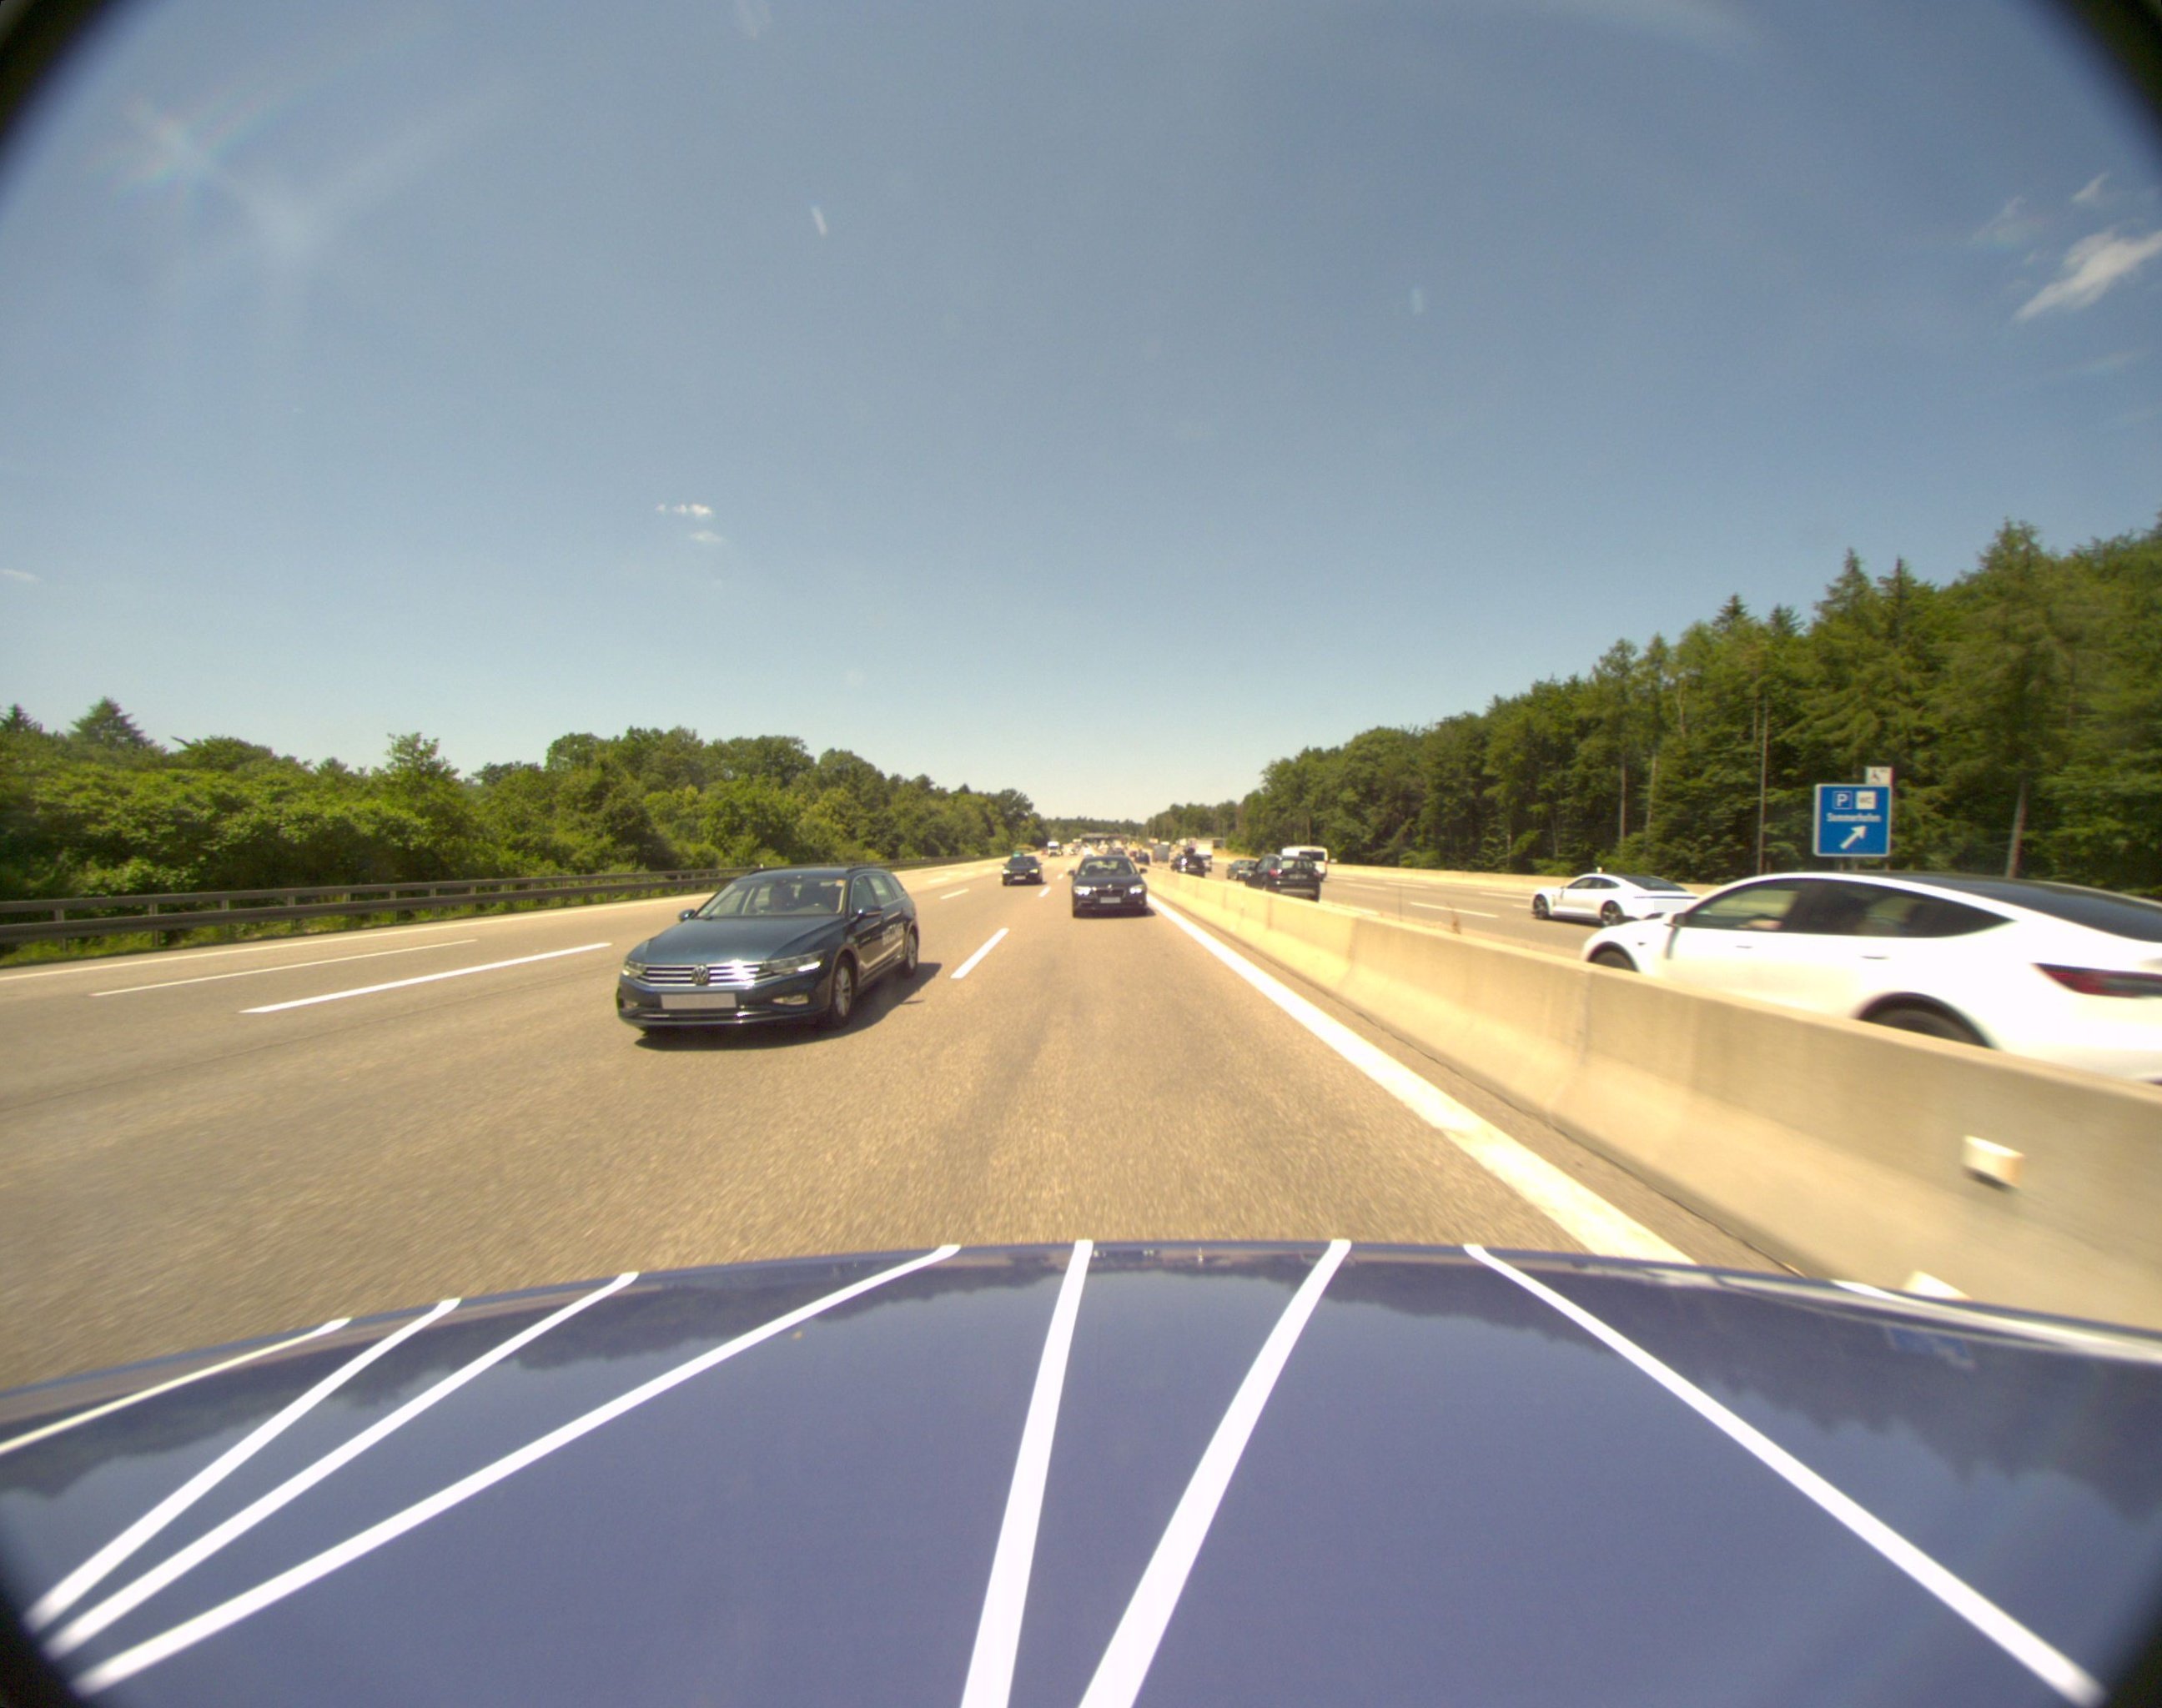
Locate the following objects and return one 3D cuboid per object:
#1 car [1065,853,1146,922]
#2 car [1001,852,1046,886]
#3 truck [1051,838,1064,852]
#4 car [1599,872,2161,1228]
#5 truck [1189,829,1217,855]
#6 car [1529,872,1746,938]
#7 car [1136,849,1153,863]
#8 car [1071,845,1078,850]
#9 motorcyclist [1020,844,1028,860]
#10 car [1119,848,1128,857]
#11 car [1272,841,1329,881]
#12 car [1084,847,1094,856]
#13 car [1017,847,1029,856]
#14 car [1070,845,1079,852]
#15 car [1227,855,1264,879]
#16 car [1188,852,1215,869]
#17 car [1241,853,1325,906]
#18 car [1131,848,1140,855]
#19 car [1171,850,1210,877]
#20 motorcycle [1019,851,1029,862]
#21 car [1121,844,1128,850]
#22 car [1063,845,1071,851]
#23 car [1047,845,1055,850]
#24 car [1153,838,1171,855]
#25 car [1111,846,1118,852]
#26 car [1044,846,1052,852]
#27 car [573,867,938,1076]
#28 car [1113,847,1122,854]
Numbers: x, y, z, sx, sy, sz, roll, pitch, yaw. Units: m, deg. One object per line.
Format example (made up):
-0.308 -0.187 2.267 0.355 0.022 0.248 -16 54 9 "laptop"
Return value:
0.591 0.742 19.131 1.741 1.450 4.542 -3 0 1 "car"
-2.781 0.685 37.790 1.834 1.454 4.203 -1 1 1 "car"
-5.270 -2.071 172.387 2.428 3.238 8.688 1 1 1 "truck"
6.403 1.041 5.842 1.817 1.664 4.475 0 1 1 "car"
19.025 -1.889 119.284 2.726 3.917 10.233 1 1 1 "truck"
13.800 1.201 19.305 1.998 1.299 4.844 0 1 1 "car"
7.401 0.237 88.986 1.709 1.652 3.759 0 1 1 "car"
-2.050 -2.065 230.852 1.874 1.560 4.127 0 0 1 "car"
-6.862 -0.245 91.083 0.914 1.926 0.905 0 2 1 "motorcyclist"
8.400 -0.336 149.545 1.618 1.652 3.849 0 1 1 "car"
14.762 0.388 51.528 1.935 2.399 6.624 2 1 1 "car"
1.815 -0.563 169.611 1.998 1.936 4.127 0 0 2 "car"
-11.329 -0.523 148.386 1.998 1.671 4.126 1 1 2 "car"
-1.641 -1.488 188.811 1.998 1.671 4.126 1 1 2 "car"
10.574 0.802 48.920 1.553 1.447 3.839 2 1 1 "car"
11.049 0.578 69.896 1.682 1.436 4.525 1 1 0 "car"
6.987 0.818 26.668 1.759 1.664 4.203 0 1 -1 "car"
12.710 -0.556 176.833 1.722 1.441 4.908 -4 0 1 "car"
7.146 0.586 50.213 1.874 1.597 5.228 1 1 1 "car"
-6.858 0.268 91.153 0.925 1.311 2.997 0 1 1 "motorcycle"
13.030 -2.078 226.587 1.975 1.714 4.510 -3 0 5 "car"
-3.634 -1.448 198.157 1.874 1.560 4.127 0 0 1 "car"
-8.958 -2.032 226.440 1.874 1.560 4.127 0 0 1 "car"
12.245 -1.116 115.381 1.935 2.592 7.230 1 0 1 "car"
8.811 -1.352 198.773 1.618 1.386 3.849 0 1 1 "car"
-8.923 -1.396 207.820 1.874 1.560 4.127 0 0 1 "car"
-2.952 0.943 8.286 1.734 1.439 4.961 0 1 1 "car"
7.726 -0.709 160.878 1.756 1.368 4.492 -1 -1 1 "car"
